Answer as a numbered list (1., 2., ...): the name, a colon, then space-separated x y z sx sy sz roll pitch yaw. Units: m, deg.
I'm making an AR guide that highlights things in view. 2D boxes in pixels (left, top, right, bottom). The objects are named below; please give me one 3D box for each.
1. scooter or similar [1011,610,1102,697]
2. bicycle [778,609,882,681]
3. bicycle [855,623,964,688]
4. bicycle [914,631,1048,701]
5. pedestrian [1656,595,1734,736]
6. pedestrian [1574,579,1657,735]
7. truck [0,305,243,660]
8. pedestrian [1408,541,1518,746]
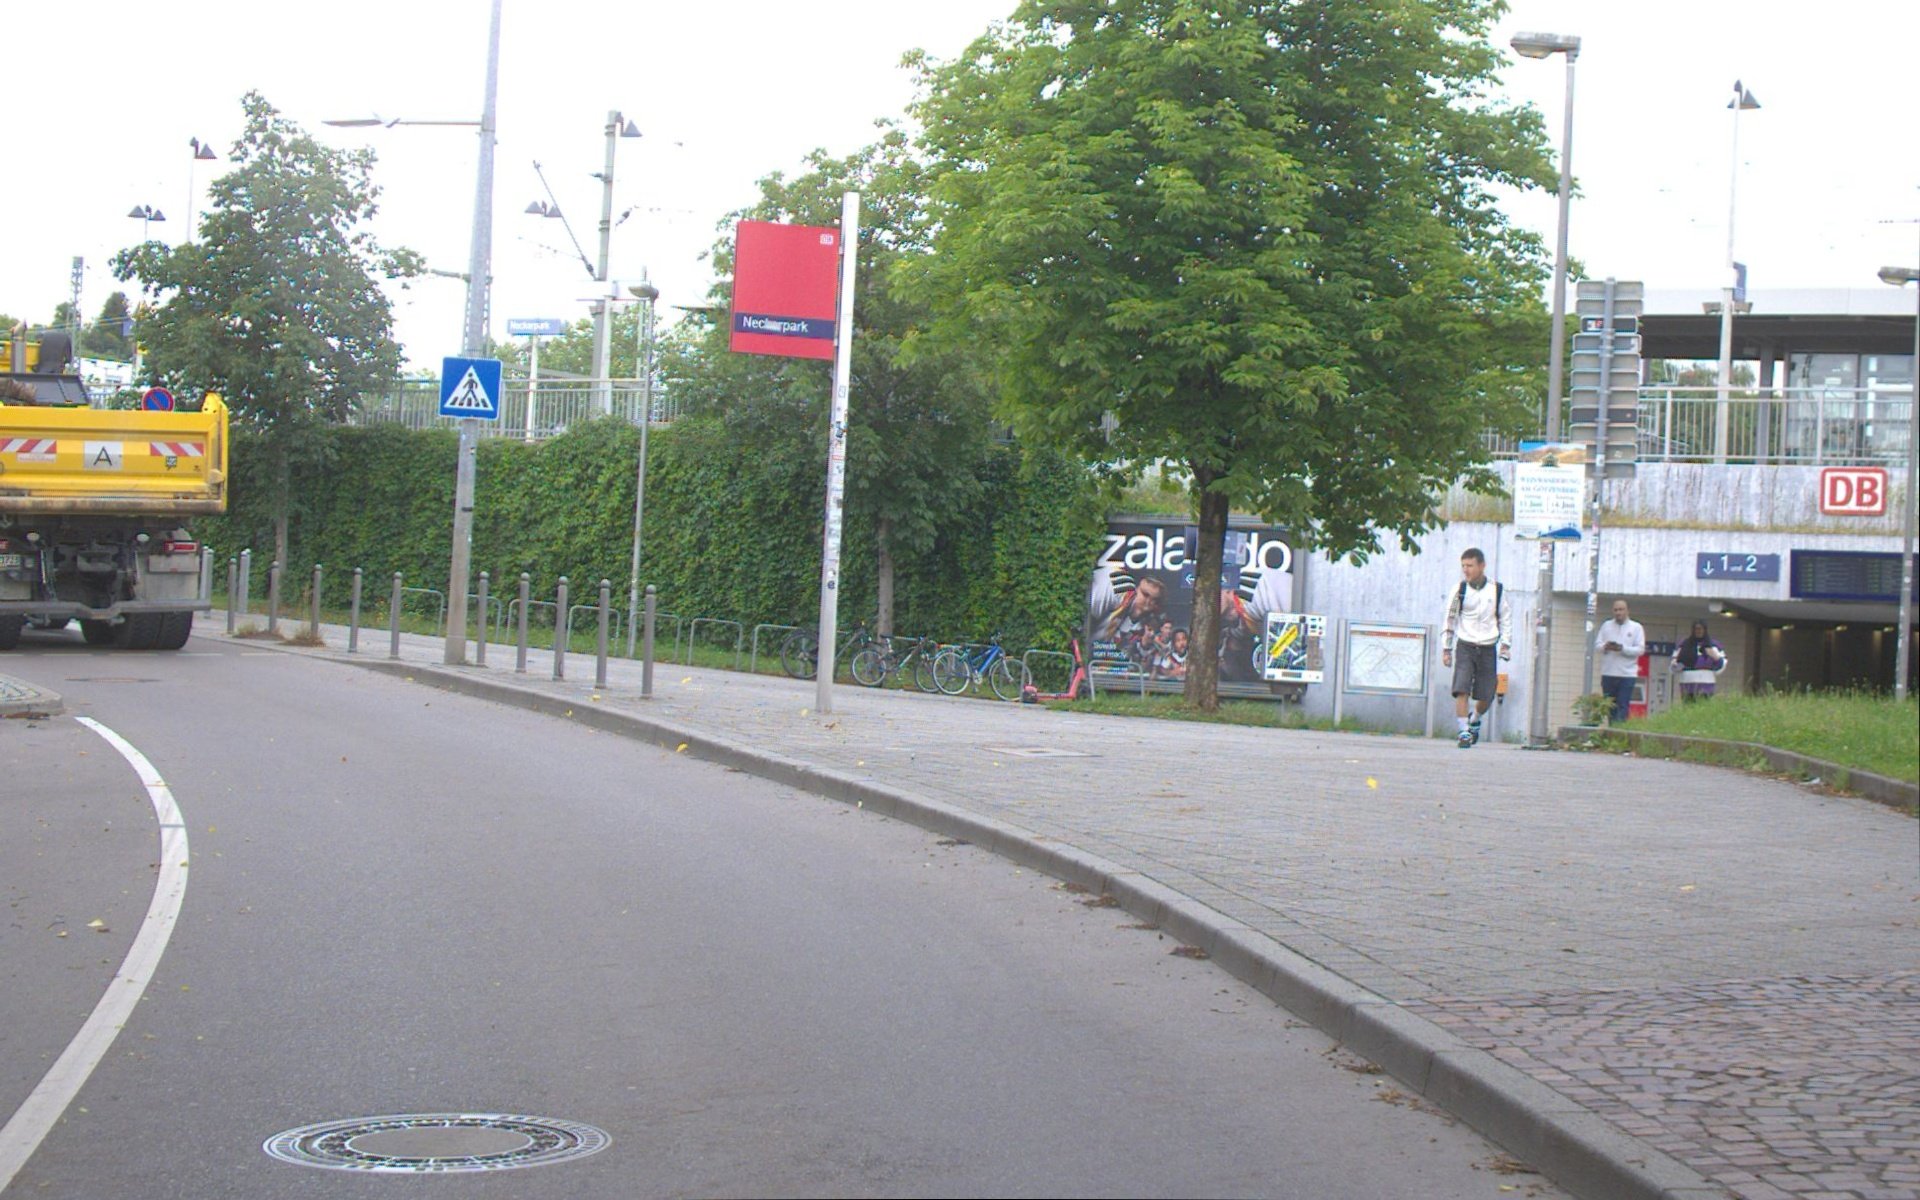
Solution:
1. scooter or similar: 1.452 0.813 51.868 1.187 1.202 0.468 6 -1 -23
2. bicycle: -2.039 0.712 54.009 1.487 0.986 0.694 5 0 -8
3. bicycle: -0.792 0.869 53.747 1.574 0.851 0.464 6 -1 -23
4. bicycle: 0.325 1.016 52.956 1.965 0.862 0.511 7 -1 -26
5. pedestrian: 8.473 0.758 39.617 0.800 1.578 0.801 2 -1 14
6. pedestrian: 7.365 0.642 38.615 0.814 1.697 0.748 2 -1 14
7. truck: -10.633 -1.407 38.629 2.764 3.471 8.131 3 2 -27
8. pedestrian: 4.263 0.372 29.111 0.848 1.678 0.939 2 -1 10
